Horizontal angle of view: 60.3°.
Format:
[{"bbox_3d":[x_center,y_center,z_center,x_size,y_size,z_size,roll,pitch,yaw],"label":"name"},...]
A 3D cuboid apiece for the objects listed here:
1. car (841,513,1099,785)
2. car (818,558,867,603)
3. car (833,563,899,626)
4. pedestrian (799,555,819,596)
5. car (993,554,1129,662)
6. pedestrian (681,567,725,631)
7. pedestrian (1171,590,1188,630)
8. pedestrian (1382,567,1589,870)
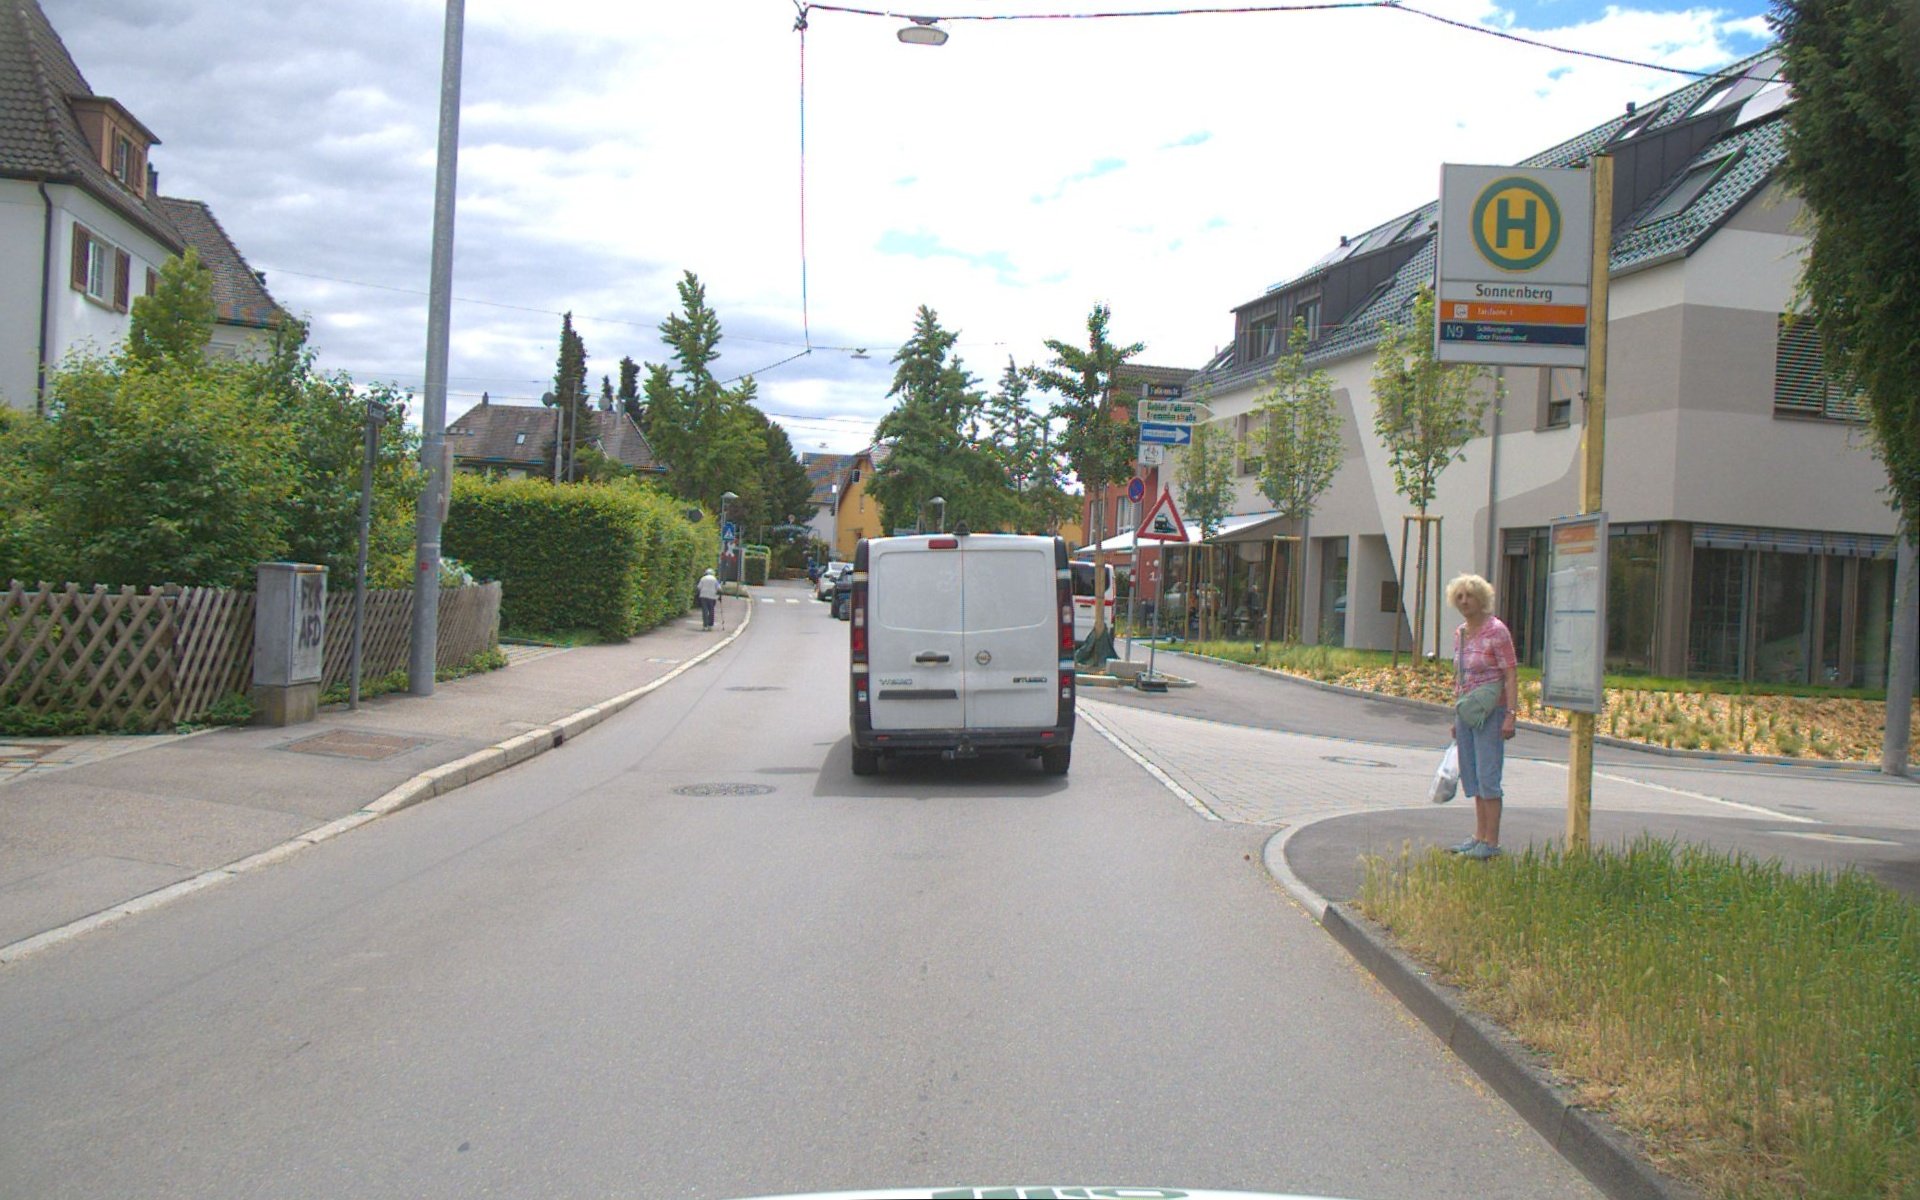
[{"bbox_3d":[-0.072,0.388,14.924,1.878,2.037,4.433,2,0,-5],"label":"car"},{"bbox_3d":[-5.039,-0.805,70.584,1.955,1.813,3.996,1,0,-5],"label":"car"},{"bbox_3d":[-3.061,-0.179,53.201,1.955,1.880,3.996,2,0,-5],"label":"car"},{"bbox_3d":[-7.790,-1.287,85.306,0.819,2.048,0.677,5,0,-15],"label":"pedestrian"},{"bbox_3d":[2.015,0.149,34.512,1.921,1.949,4.895,4,0,-6],"label":"car"},{"bbox_3d":[-6.364,-0.036,40.966,0.865,1.510,0.452,5,-1,-25],"label":"pedestrian"},{"bbox_3d":[6.580,0.300,49.554,0.413,1.202,0.323,2,0,-7],"label":"pedestrian"},{"bbox_3d":[3.125,0.682,9.919,0.863,1.673,0.857,4,0,1],"label":"pedestrian"}]
